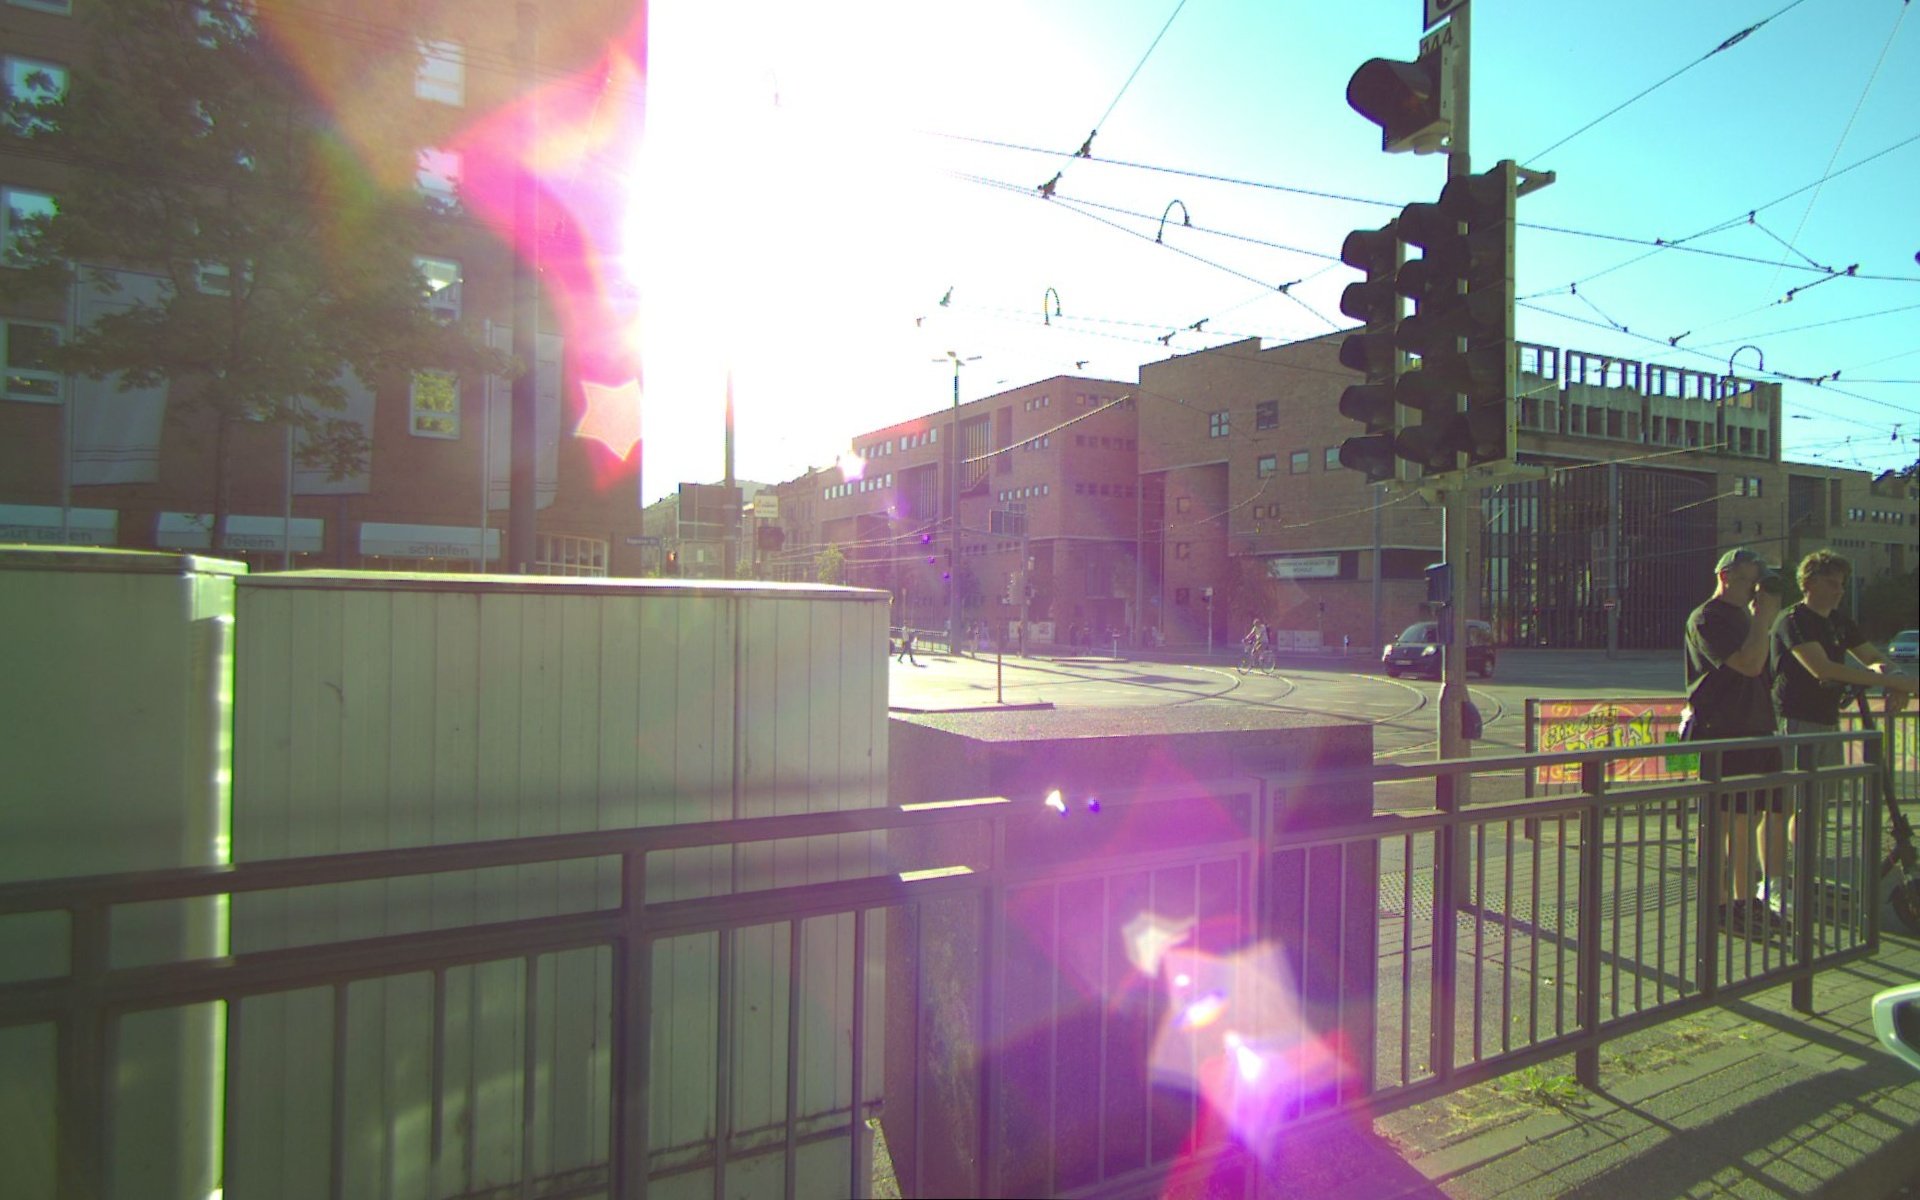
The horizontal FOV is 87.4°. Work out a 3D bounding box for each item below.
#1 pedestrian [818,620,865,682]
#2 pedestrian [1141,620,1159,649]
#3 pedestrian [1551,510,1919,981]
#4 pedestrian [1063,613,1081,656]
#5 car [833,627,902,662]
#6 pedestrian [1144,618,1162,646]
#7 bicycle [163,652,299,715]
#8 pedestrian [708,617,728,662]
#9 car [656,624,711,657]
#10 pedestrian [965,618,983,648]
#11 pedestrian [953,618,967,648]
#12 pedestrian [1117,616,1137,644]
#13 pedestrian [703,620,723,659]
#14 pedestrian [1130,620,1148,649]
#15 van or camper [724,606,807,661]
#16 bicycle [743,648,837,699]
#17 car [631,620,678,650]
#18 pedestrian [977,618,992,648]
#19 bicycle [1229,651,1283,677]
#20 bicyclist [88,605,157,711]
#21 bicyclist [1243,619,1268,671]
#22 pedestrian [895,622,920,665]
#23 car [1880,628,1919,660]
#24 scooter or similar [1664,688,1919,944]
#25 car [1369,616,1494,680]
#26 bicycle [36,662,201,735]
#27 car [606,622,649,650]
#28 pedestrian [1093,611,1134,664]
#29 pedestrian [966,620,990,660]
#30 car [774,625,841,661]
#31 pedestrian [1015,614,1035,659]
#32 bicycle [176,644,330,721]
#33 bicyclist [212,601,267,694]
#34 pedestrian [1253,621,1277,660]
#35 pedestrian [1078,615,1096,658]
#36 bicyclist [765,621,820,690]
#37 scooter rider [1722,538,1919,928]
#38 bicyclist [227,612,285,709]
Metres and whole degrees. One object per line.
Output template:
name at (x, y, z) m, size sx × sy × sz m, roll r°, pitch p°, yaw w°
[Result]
pedestrian at (-3.600, 1.526, 30.577) m, size 0.942 × 1.822 × 0.989 m, roll 2°, pitch 0°, yaw 37°
pedestrian at (13.769, 2.468, 72.868) m, size 0.841 × 2.079 × 1.001 m, roll 1°, pitch -1°, yaw -32°
pedestrian at (3.653, 0.609, 4.793) m, size 0.843 × 1.908 × 1.164 m, roll 1°, pitch -1°, yaw -25°
pedestrian at (5.421, 1.655, 48.437) m, size 0.603 × 2.040 × 0.731 m, roll 0°, pitch -1°, yaw 30°
car at (-4.807, 2.248, 51.806) m, size 1.978 × 1.709 × 3.965 m, roll 1°, pitch -2°, yaw -33°
pedestrian at (14.331, 2.368, 74.650) m, size 0.841 × 2.079 × 1.001 m, roll 1°, pitch -1°, yaw -32°
bicycle at (-12.744, 1.439, 17.598) m, size 1.884 × 1.011 × 0.648 m, roll 1°, pitch -2°, yaw -37°
pedestrian at (-11.029, 1.794, 45.737) m, size 0.597 × 2.040 × 0.848 m, roll 1°, pitch -1°, yaw -38°
car at (-15.137, 2.189, 54.896) m, size 1.739 × 1.750 × 3.963 m, roll 1°, pitch -2°, yaw -33°
pedestrian at (0.954, 2.188, 66.665) m, size 0.917 × 2.010 × 0.780 m, roll 1°, pitch -1°, yaw -32°
pedestrian at (0.014, 2.223, 68.750) m, size 0.644 × 2.040 × 0.780 m, roll 1°, pitch -1°, yaw -32°
pedestrian at (12.126, 2.185, 73.000) m, size 0.902 × 2.040 × 1.151 m, roll 1°, pitch -1°, yaw -34°
pedestrian at (-11.739, 1.879, 47.732) m, size 0.597 × 1.843 × 0.848 m, roll 1°, pitch -1°, yaw -38°
pedestrian at (13.206, 2.524, 74.051) m, size 0.841 × 2.079 × 1.001 m, roll 1°, pitch -1°, yaw -32°
van or camper at (-9.349, 1.577, 47.925) m, size 1.981 × 2.451 × 4.980 m, roll 1°, pitch -2°, yaw -36°
bicycle at (-3.797, 1.628, 22.566) m, size 1.993 × 1.064 × 0.647 m, roll 2°, pitch -1°, yaw -35°
car at (-18.256, 2.084, 59.955) m, size 1.738 × 1.750 × 3.965 m, roll 1°, pitch -2°, yaw -32°
pedestrian at (1.645, 2.211, 67.149) m, size 0.742 × 2.010 × 0.780 m, roll 1°, pitch -1°, yaw -32°
bicycle at (9.471, 2.023, 32.140) m, size 1.948 × 0.781 × 0.586 m, roll 1°, pitch -2°, yaw -35°
bicyclist at (-12.897, 0.880, 15.491) m, size 0.752 × 1.590 × 0.656 m, roll 1°, pitch -2°, yaw -37°
bicyclist at (9.457, 1.431, 32.136) m, size 0.509 × 1.647 × 0.583 m, roll 1°, pitch -1°, yaw -34°
pedestrian at (-2.243, 1.844, 42.671) m, size 0.857 × 1.775 × 0.672 m, roll 1°, pitch -1°, yaw -30°
car at (48.934, 2.254, 51.700) m, size 3.962 × 1.598 × 1.610 m, roll 1°, pitch -2°, yaw -36°
scooter or similar at (4.478, 1.046, 5.211) m, size 0.639 × 1.095 × 1.199 m, roll 1°, pitch -1°, yaw -25°
car at (14.495, 1.423, 30.799) m, size 3.964 × 1.786 × 1.854 m, roll 1°, pitch 0°, yaw -37°
bicycle at (-12.907, 1.492, 15.490) m, size 1.884 × 1.011 × 0.688 m, roll 1°, pitch -2°, yaw -37°
car at (-21.475, 2.306, 64.860) m, size 1.738 × 1.750 × 3.965 m, roll 1°, pitch -2°, yaw -32°
pedestrian at (6.101, 1.492, 39.876) m, size 1.193 × 2.040 × 1.028 m, roll 2°, pitch 0°, yaw -30°
pedestrian at (0.814, 1.784, 45.075) m, size 0.860 × 1.775 × 0.670 m, roll 1°, pitch -2°, yaw -39°
car at (-7.797, 2.154, 51.182) m, size 1.978 × 1.709 × 3.965 m, roll 1°, pitch -2°, yaw -33°
pedestrian at (3.024, 1.694, 46.492) m, size 0.606 × 2.040 × 0.728 m, roll -1°, pitch -2°, yaw 45°
bicycle at (-12.030, 1.375, 17.148) m, size 2.091 × 1.157 × 0.680 m, roll -1°, pitch 0°, yaw -37°
bicyclist at (-12.671, 0.828, 17.668) m, size 0.752 × 1.595 × 0.656 m, roll 1°, pitch -2°, yaw -37°
pedestrian at (15.644, 2.075, 51.508) m, size 0.866 × 1.927 × 0.718 m, roll 2°, pitch 0°, yaw -33°
pedestrian at (6.121, 1.733, 48.266) m, size 0.603 × 2.040 × 0.731 m, roll 0°, pitch -1°, yaw 30°
bicyclist at (-3.759, 1.239, 22.606) m, size 1.022 × 1.494 × 0.649 m, roll 2°, pitch -1°, yaw -35°
scooter rider at (4.494, 0.660, 5.247) m, size 0.670 × 1.877 × 0.564 m, roll 3°, pitch -2°, yaw -25°
bicyclist at (-12.021, 1.014, 17.151) m, size 0.752 × 1.581 × 0.677 m, roll -1°, pitch 0°, yaw -37°
